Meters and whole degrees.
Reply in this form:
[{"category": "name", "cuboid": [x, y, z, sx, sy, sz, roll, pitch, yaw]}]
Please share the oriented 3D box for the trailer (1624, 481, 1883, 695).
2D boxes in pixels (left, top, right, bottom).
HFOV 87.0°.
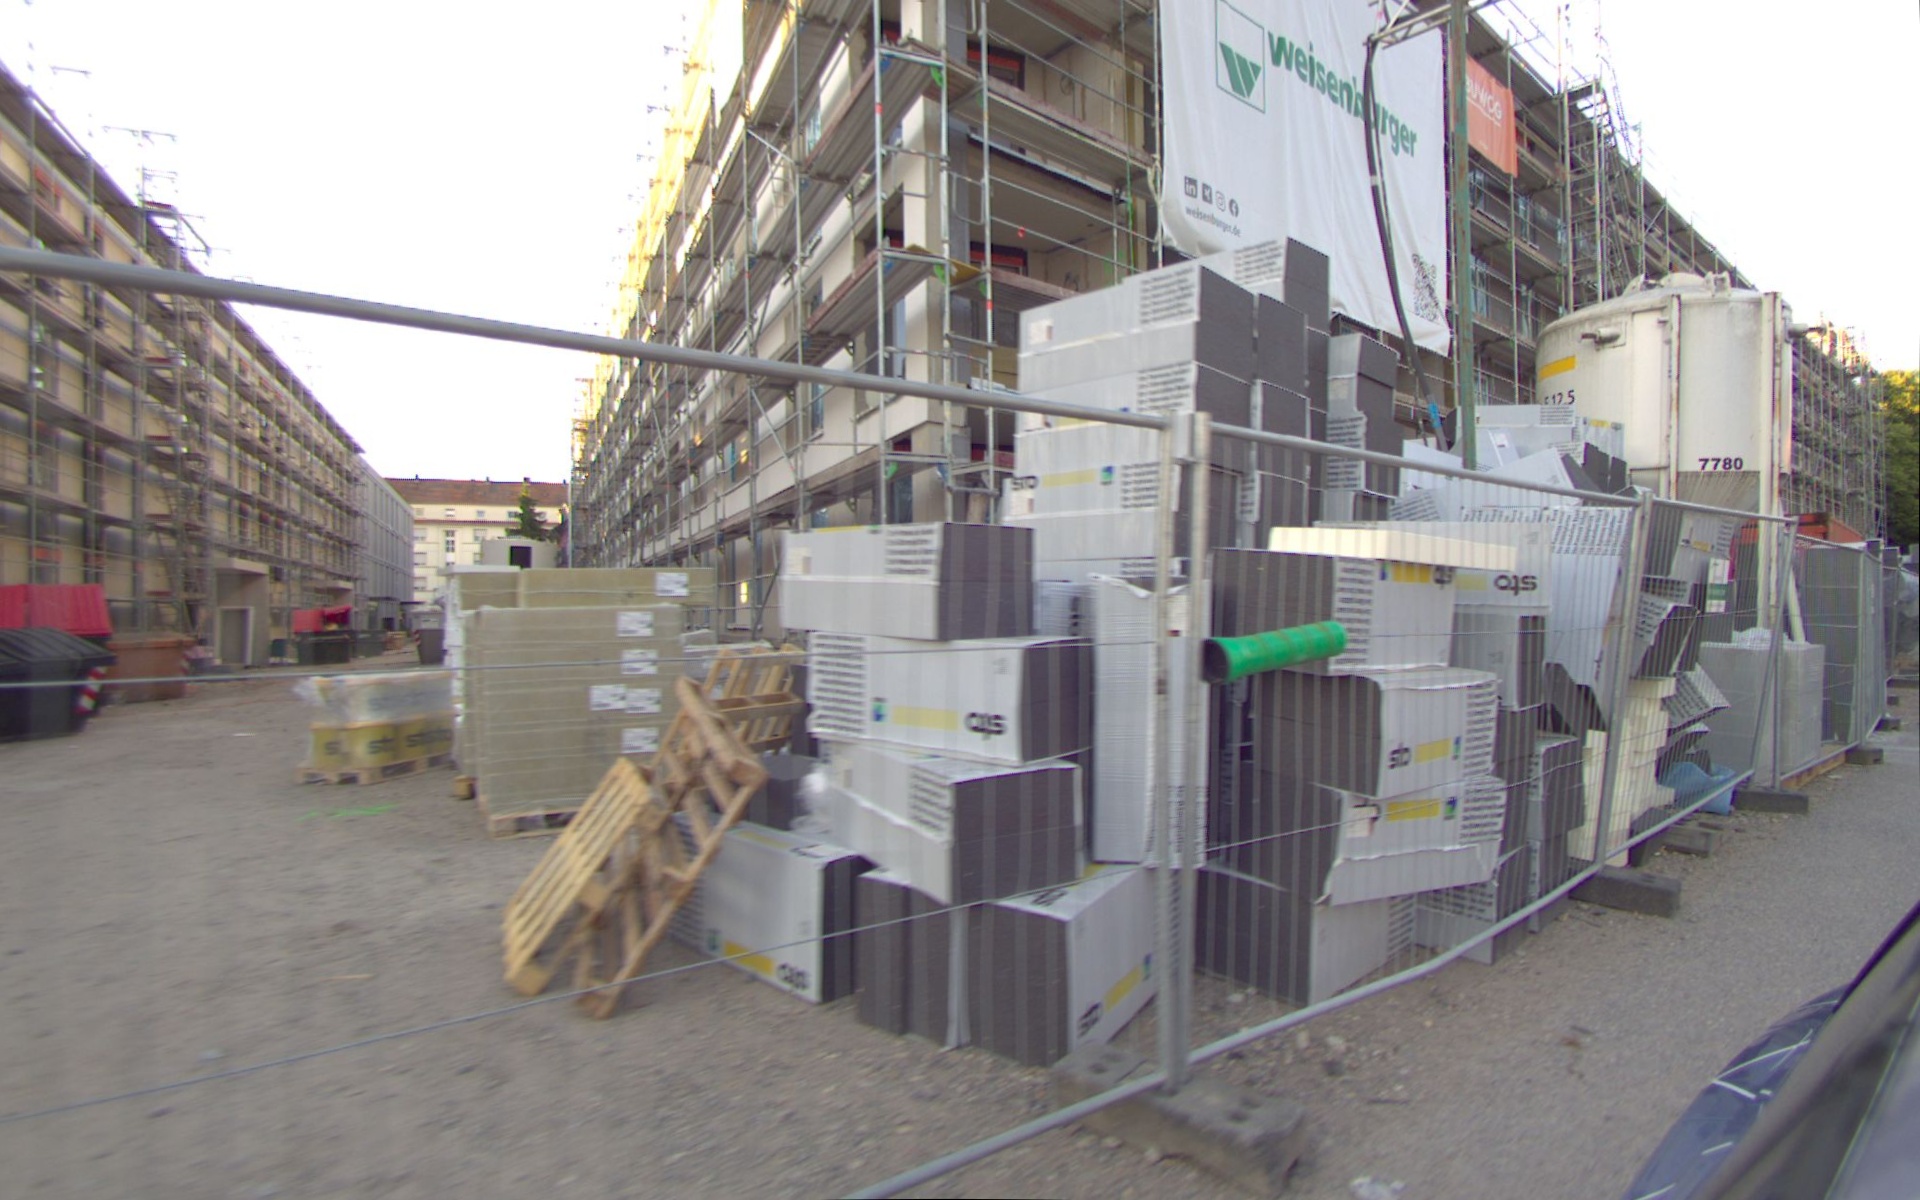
[{"category": "trailer", "cuboid": [13.480, -0.198, 16.999, 6.134, 2.948, 2.576, -1, 0, -44]}]
